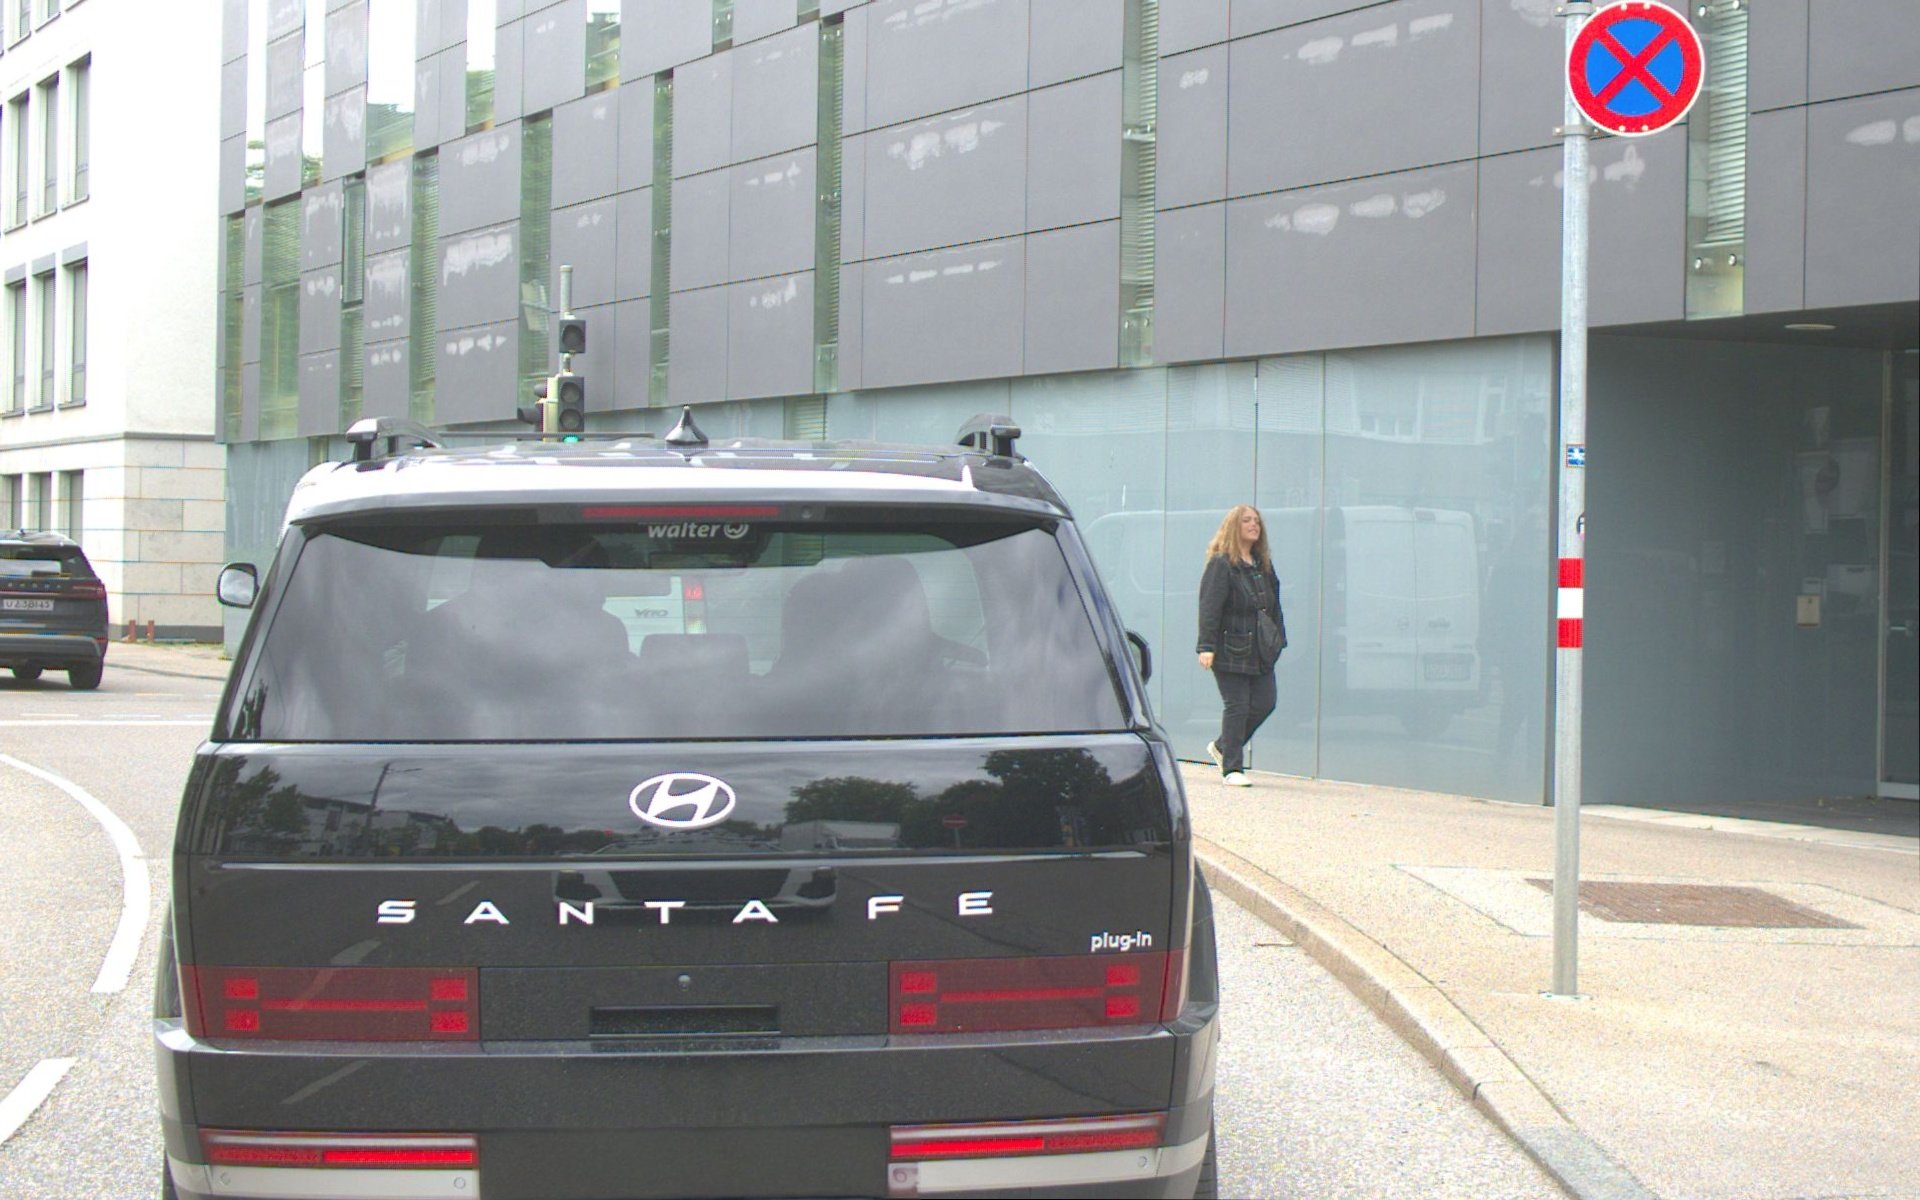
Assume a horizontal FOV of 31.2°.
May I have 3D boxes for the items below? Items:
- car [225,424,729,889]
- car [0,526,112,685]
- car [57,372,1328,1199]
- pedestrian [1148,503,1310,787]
[{"bbox_3d":[-2.550,0.213,17.133,1.931,1.987,4.536,1,1,-15],"label":"car"},{"bbox_3d":[-10.368,0.016,36.545,1.759,1.603,4.189,1,1,-26],"label":"car"},{"bbox_3d":[-0.635,0.498,7.371,1.908,1.743,4.398,0,1,-7],"label":"car"},{"bbox_3d":[1.645,0.269,21.136,0.862,1.688,0.714,2,0,-2],"label":"pedestrian"}]
